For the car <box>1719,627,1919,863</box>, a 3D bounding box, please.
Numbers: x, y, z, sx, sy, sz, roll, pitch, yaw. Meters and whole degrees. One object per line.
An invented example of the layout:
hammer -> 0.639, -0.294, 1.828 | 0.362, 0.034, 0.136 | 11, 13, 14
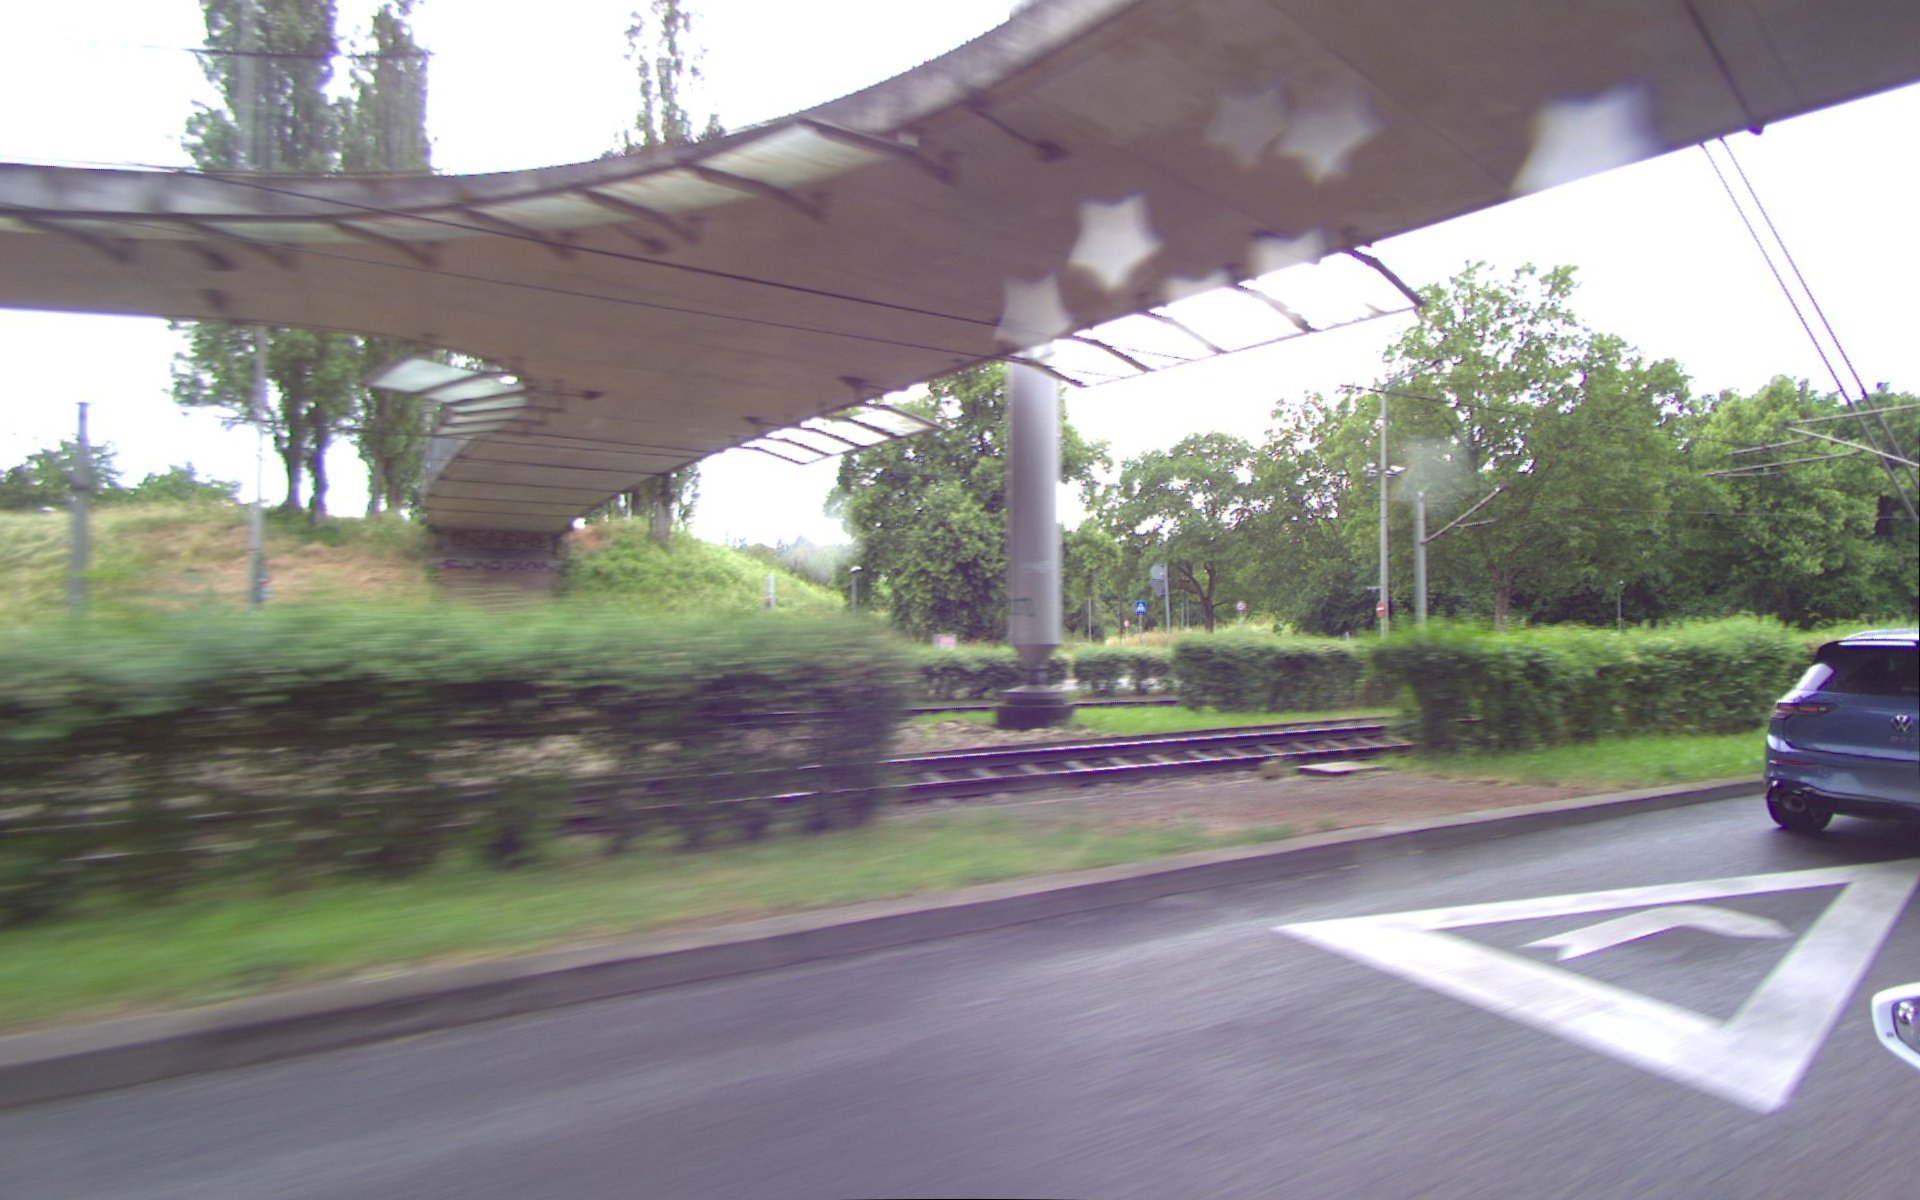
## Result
car -> 7.529, 0.923, 7.251 | 4.296, 1.397, 1.799 | 1, -1, -31
